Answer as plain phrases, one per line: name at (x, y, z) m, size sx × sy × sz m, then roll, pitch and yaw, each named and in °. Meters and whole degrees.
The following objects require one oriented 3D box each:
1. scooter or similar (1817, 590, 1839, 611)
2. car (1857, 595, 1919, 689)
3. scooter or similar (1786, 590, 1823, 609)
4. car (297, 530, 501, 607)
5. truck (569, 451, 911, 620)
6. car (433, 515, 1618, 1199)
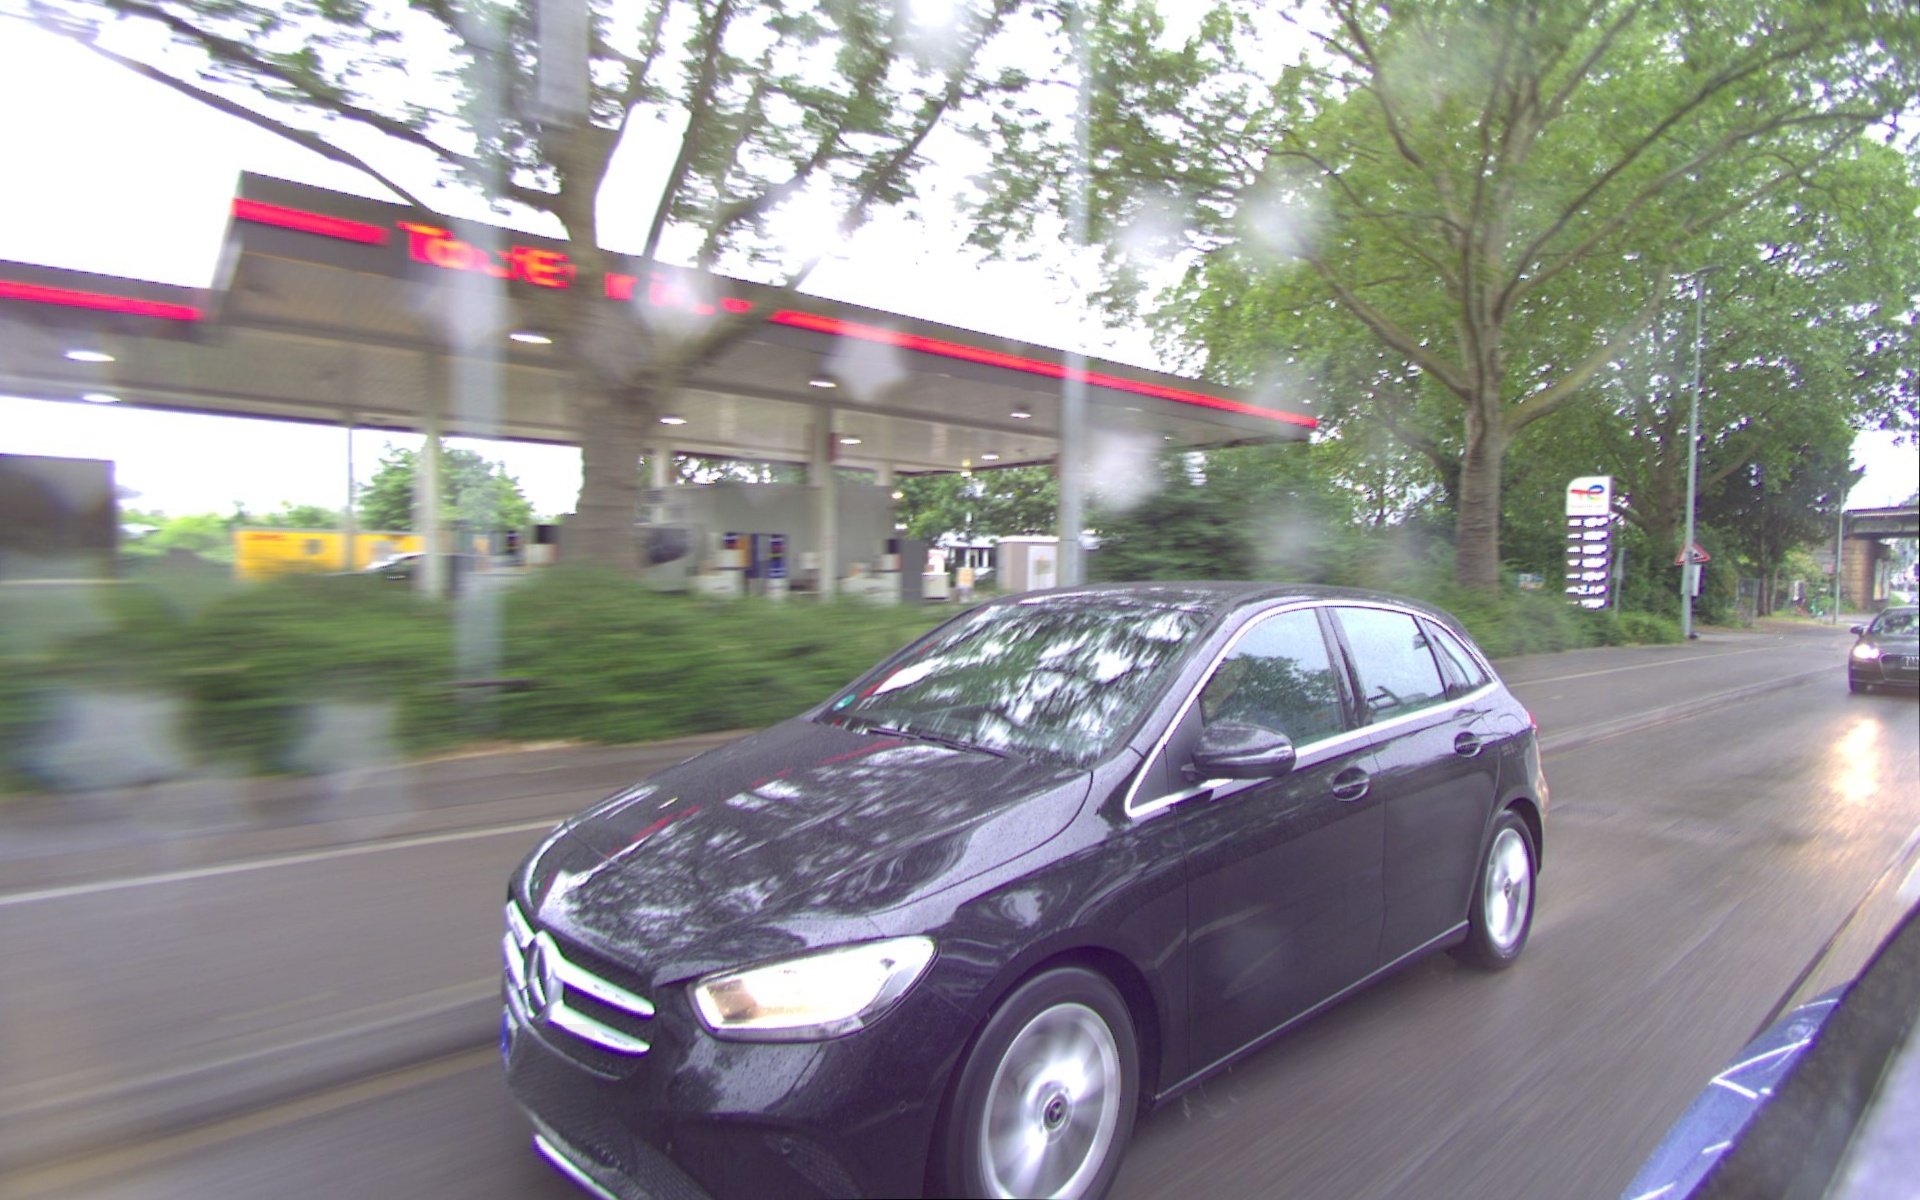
scooter or similar at (48.371, 0.013, 56.368) m, size 1.792 × 1.173 × 0.454 m, roll 0°, pitch 0°, yaw -34°
car at (16.226, 0.645, 16.619) m, size 3.714 × 1.402 × 1.641 m, roll -1°, pitch 1°, yaw -39°
scooter or similar at (46.482, -0.022, 55.708) m, size 1.705 × 1.022 × 0.454 m, roll 0°, pitch 0°, yaw -3°
car at (-12.765, -0.679, 23.116) m, size 3.812 × 1.613 × 1.832 m, roll 0°, pitch 0°, yaw -41°
truck at (-4.920, -1.321, 23.901) m, size 7.638 × 3.394 × 2.697 m, roll 0°, pitch 0°, yaw -43°
car at (0.665, 0.554, 3.746) m, size 4.345 × 1.548 × 1.820 m, roll -2°, pitch 3°, yaw -41°
